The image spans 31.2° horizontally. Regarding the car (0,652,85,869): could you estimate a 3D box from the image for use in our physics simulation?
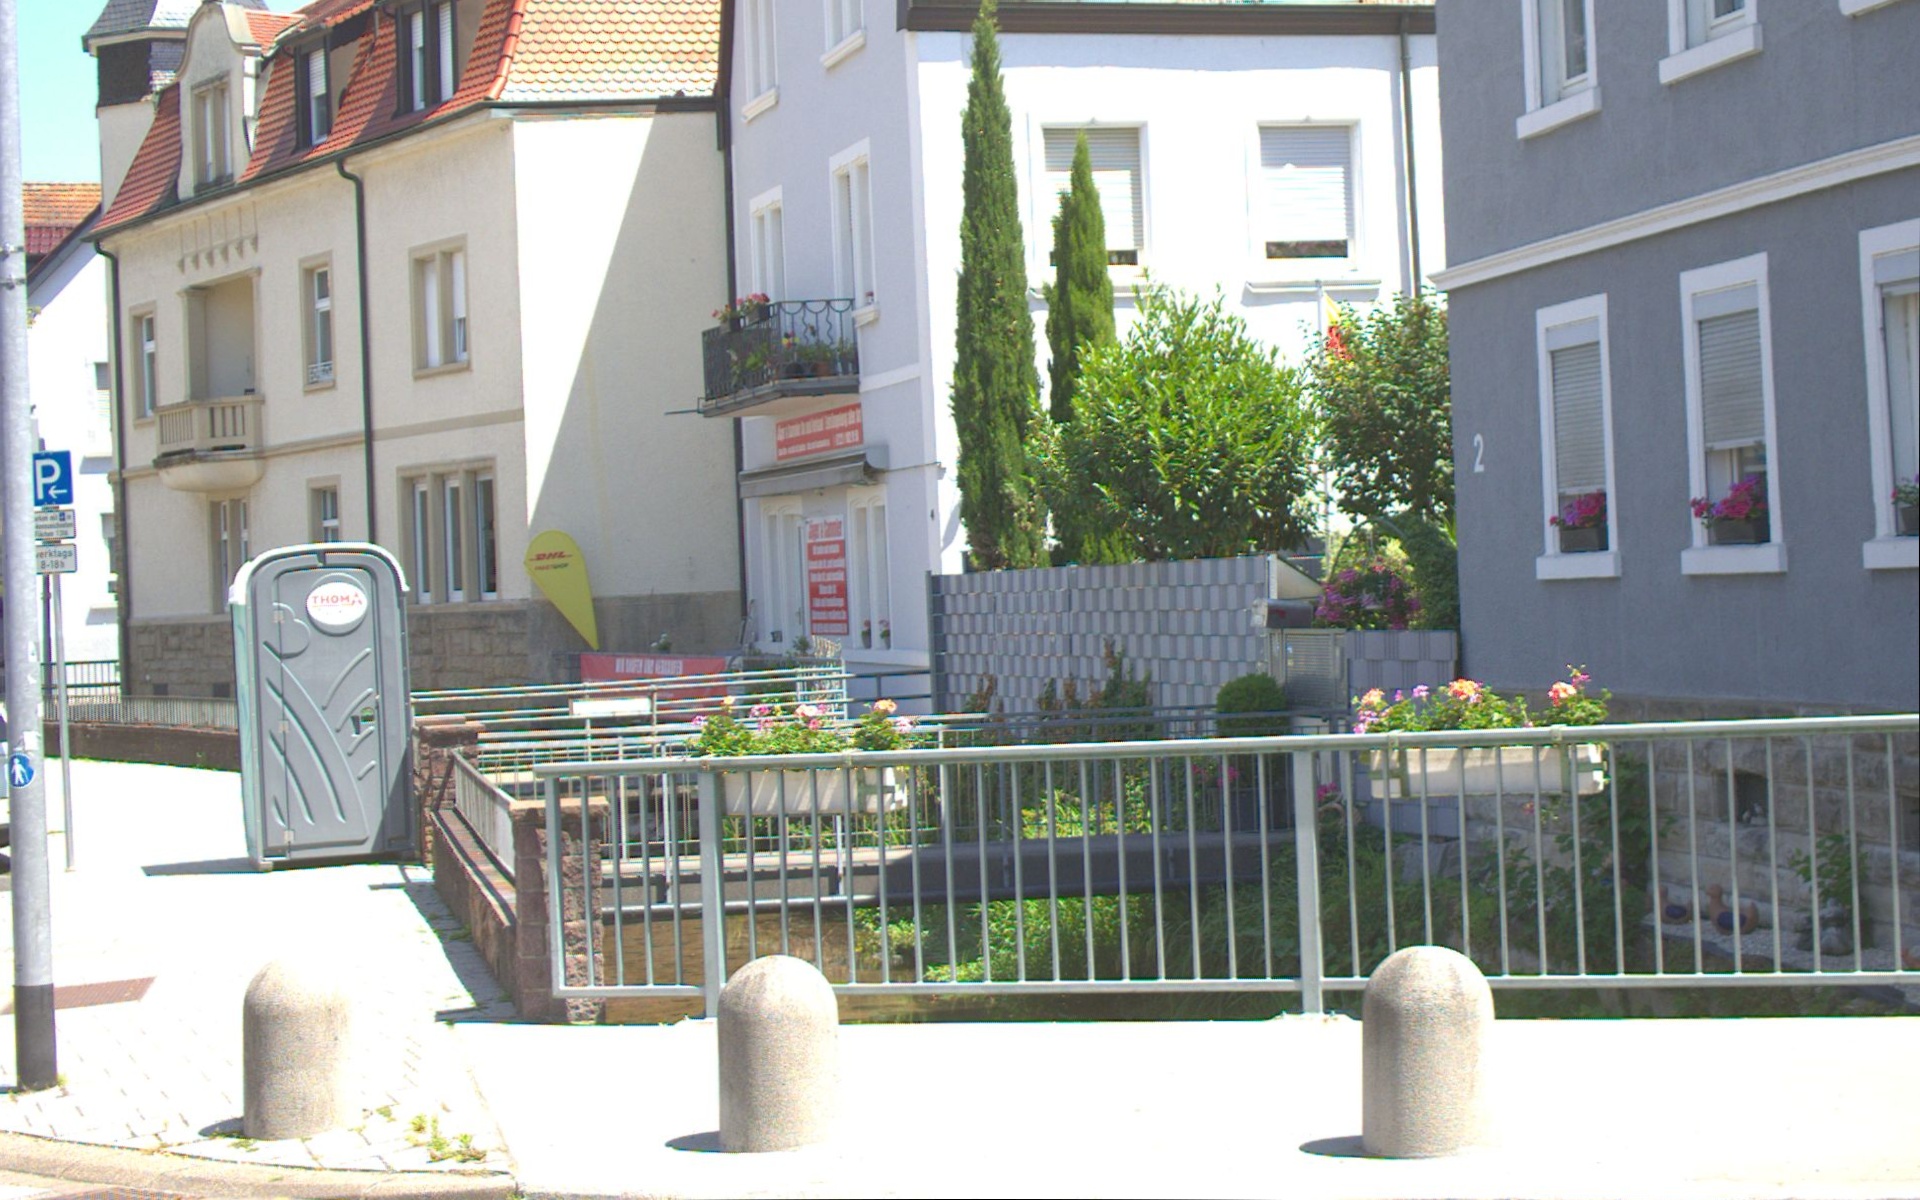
[{"bbox_3d":[-8.555,1.343,27.976,1.993,1.579,4.287,-7,2,-23],"label":"car"}]
